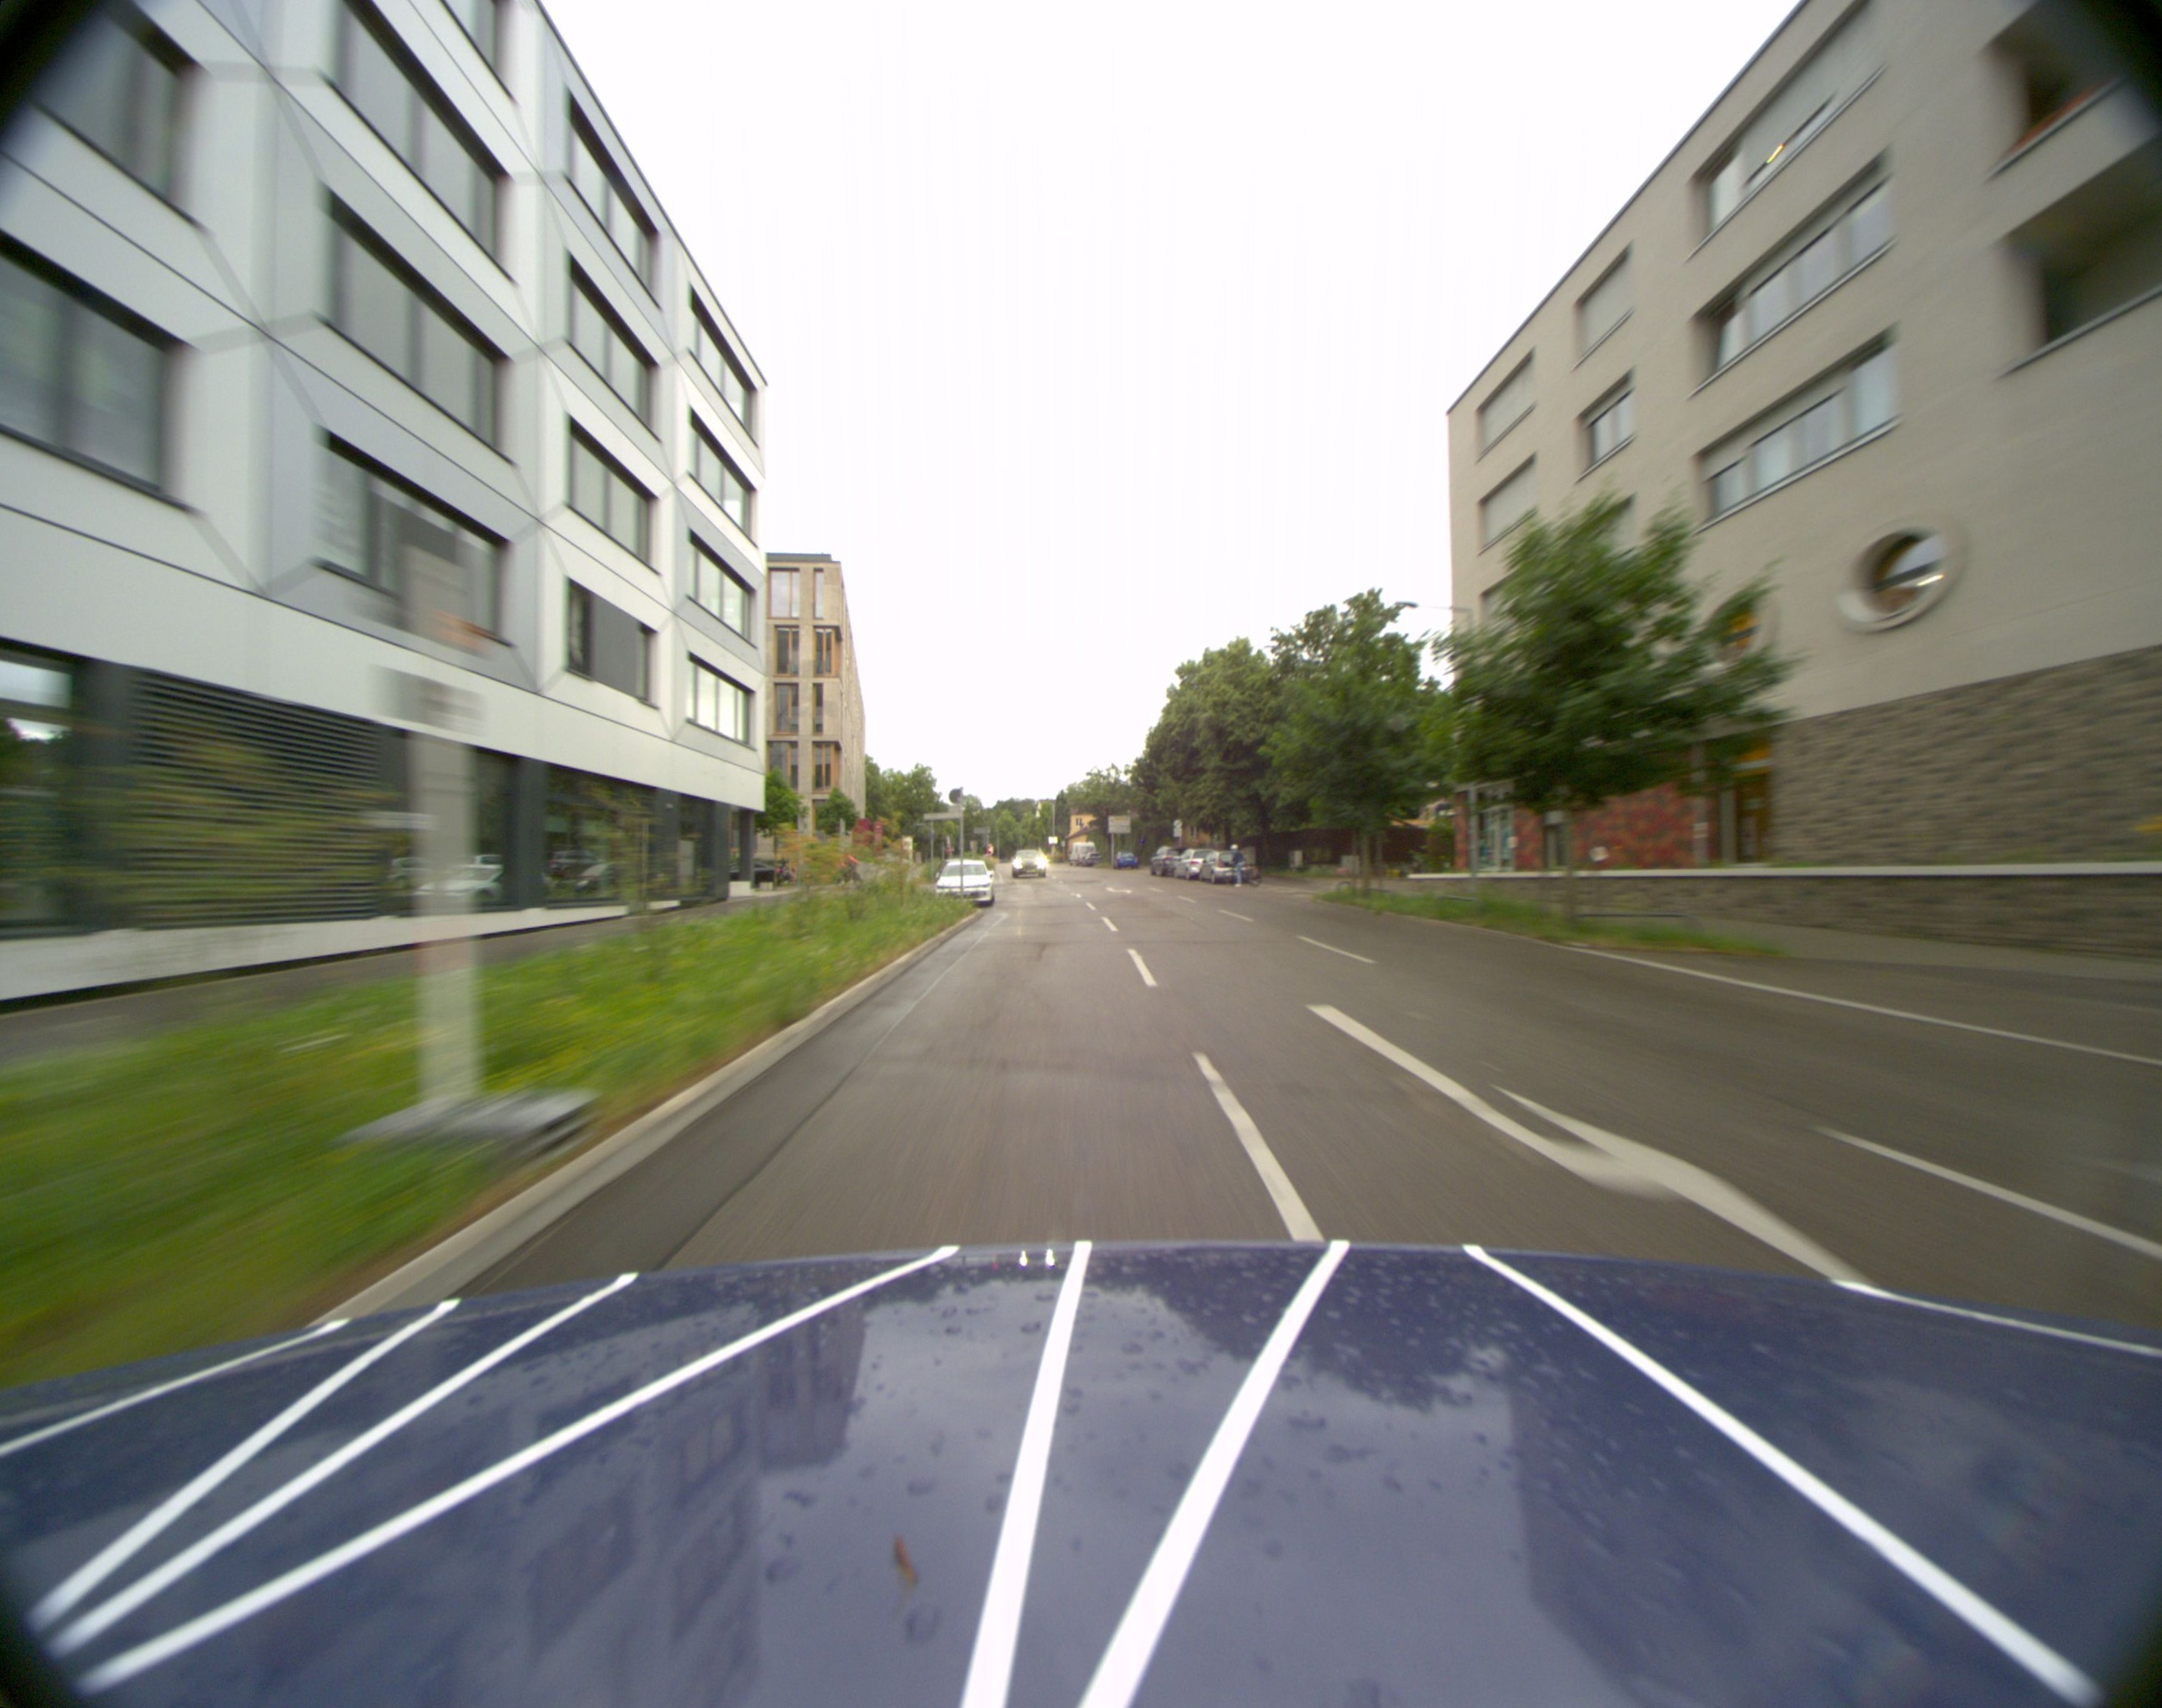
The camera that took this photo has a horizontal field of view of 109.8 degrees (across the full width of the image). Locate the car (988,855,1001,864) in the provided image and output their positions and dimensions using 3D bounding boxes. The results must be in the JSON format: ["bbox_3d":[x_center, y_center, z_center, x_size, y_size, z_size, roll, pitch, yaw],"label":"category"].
[{"bbox_3d":[-16.596,1.027,144.956,1.901,1.695,4.503,-2,1,-14],"label":"car"}]

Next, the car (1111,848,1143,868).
[{"bbox_3d":[3.736,0.295,62.136,1.999,1.461,4.183,-2,1,-5],"label":"car"}]

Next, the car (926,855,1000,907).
[{"bbox_3d":[-3.787,0.823,25.200,2.045,1.456,4.500,-2,1,-4],"label":"car"}]

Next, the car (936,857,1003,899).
[{"bbox_3d":[-4.482,0.884,30.046,2.052,1.450,4.049,-2,1,-16],"label":"car"}]

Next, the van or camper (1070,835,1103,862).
[{"bbox_3d":[0.498,-0.611,82.398,2.348,2.749,6.135,-2,1,-11],"label":"van or camper"}]

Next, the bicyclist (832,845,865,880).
[{"bbox_3d":[-10.200,0.370,33.374,1.073,1.494,0.841,-1,1,32],"label":"bicyclist"}]

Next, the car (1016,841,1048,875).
[{"bbox_3d":[-3.075,0.208,47.477,1.848,1.961,4.341,-2,1,-4],"label":"car"}]

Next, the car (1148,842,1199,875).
[{"bbox_3d":[5.393,0.223,45.013,1.999,1.776,5.407,-2,1,-4],"label":"car"}]

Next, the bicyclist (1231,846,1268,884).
[{"bbox_3d":[6.861,0.439,30.925,1.198,1.514,0.805,0,2,43],"label":"bicyclist"}]

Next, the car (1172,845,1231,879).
[{"bbox_3d":[6.156,0.376,39.445,1.995,1.584,4.487,-2,1,-5],"label":"car"}]

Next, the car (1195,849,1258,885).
[{"bbox_3d":[6.579,0.539,34.765,1.885,1.454,3.845,-2,1,-4],"label":"car"}]

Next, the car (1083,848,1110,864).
[{"bbox_3d":[1.556,0.207,77.178,2.000,1.504,4.418,-2,1,-9],"label":"car"}]

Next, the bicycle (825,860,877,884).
[{"bbox_3d":[-10.123,0.797,33.367,2.476,1.014,0.627,0,1,30],"label":"bicycle"}]

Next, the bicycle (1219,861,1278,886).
[{"bbox_3d":[6.819,0.786,30.996,2.248,0.973,0.806,0,2,43],"label":"bicycle"}]

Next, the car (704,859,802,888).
[{"bbox_3d":[-16.773,0.983,38.998,4.242,1.238,1.728,-2,1,-6],"label":"car"}]
